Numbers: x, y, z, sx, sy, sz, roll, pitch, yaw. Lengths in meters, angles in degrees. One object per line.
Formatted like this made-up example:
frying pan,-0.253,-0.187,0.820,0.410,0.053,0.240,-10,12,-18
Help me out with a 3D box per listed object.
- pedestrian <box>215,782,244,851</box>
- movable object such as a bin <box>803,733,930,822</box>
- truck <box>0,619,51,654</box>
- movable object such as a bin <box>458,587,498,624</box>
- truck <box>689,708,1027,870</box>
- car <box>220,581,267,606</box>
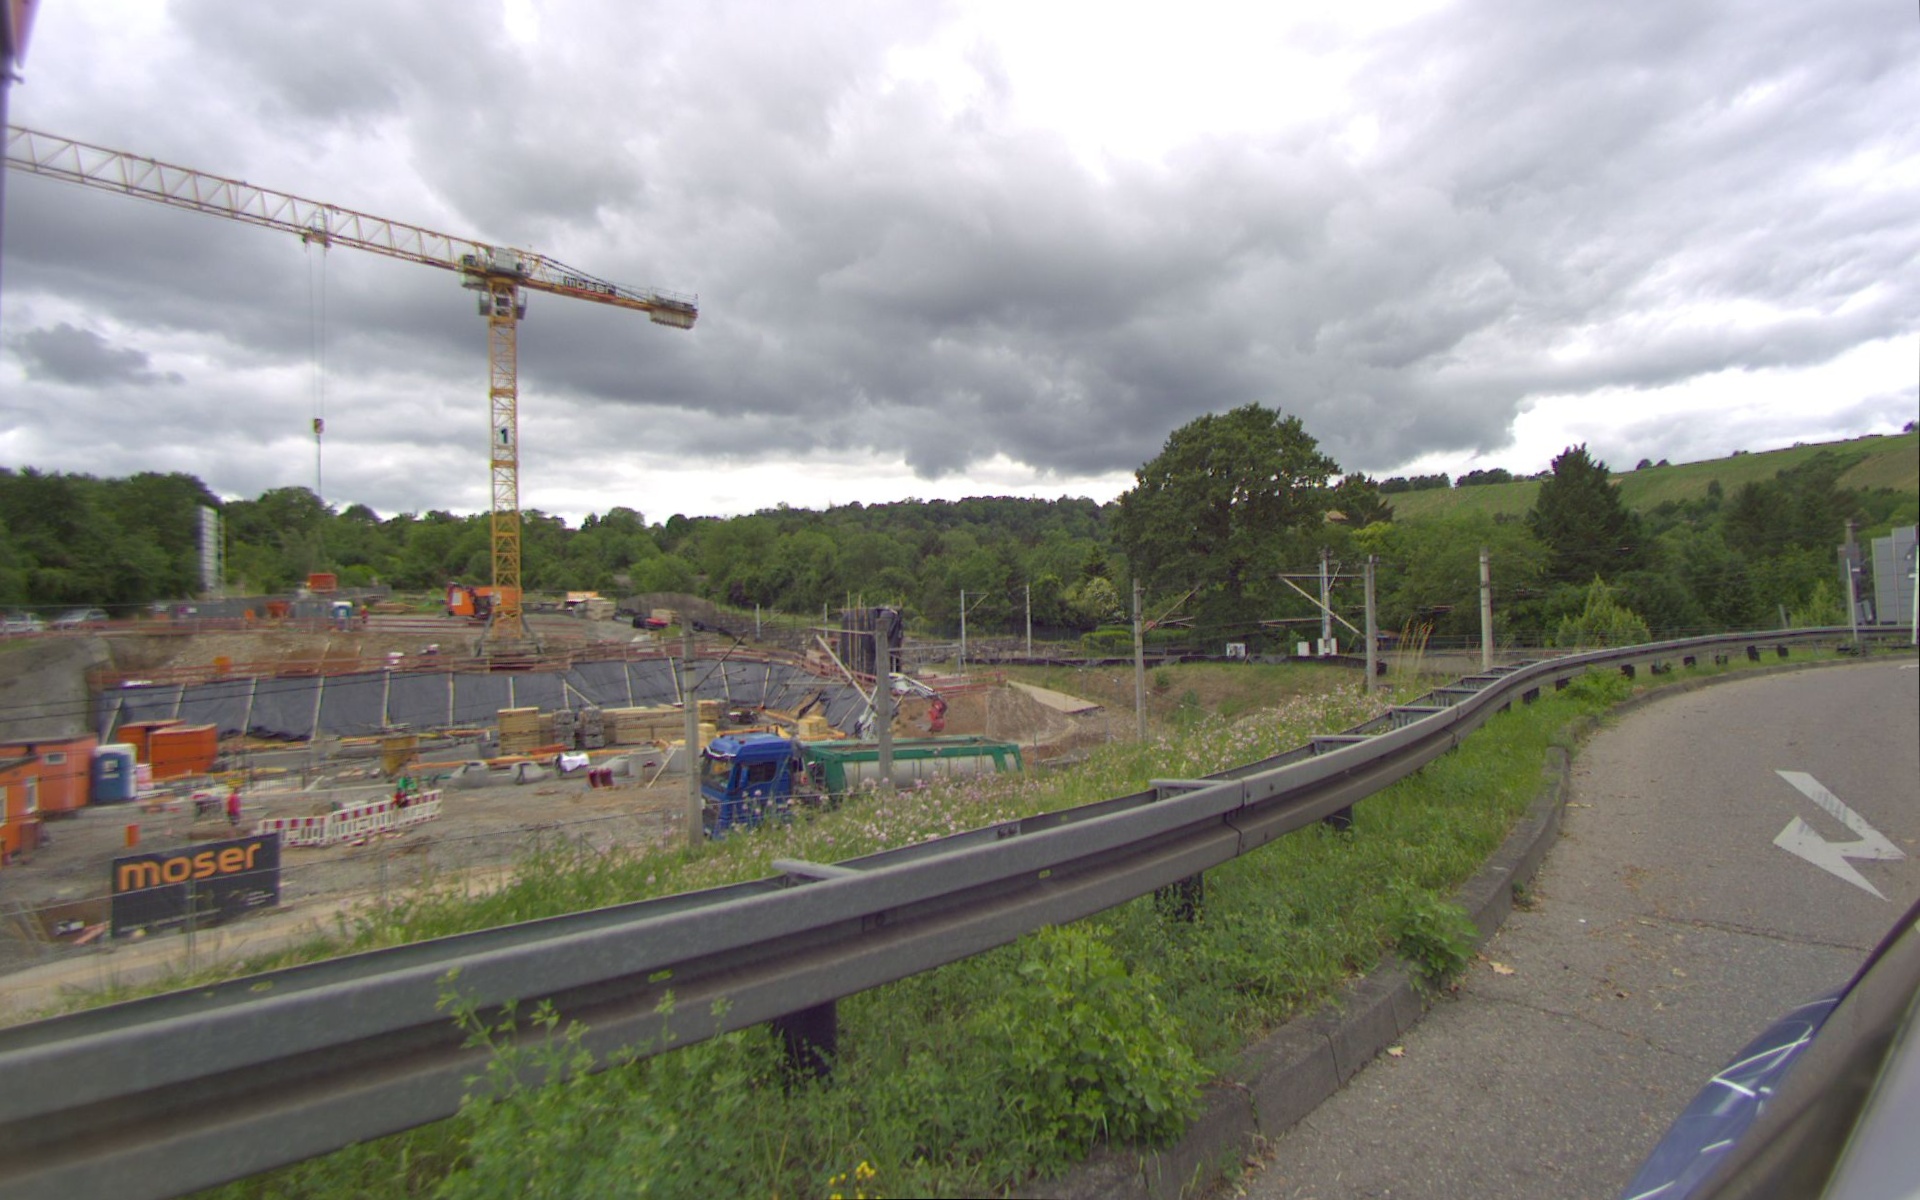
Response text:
pedestrian,-23.691,6.993,32.822,0.690,2.040,0.803,-2,-4,-34
movable object such as a bin,-3.583,6.638,38.413,4.197,2.785,3.053,1,-2,-18
truck,-60.189,2.360,64.854,1.704,2.040,3.232,-2,-3,-17
movable object such as a bin,-42.005,0.495,88.210,2.742,3.116,1.844,-2,-1,-15
truck,-3.059,5.967,33.897,11.399,3.944,2.845,1,-2,-36
car,-64.260,-0.555,90.789,1.959,2.039,4.006,-2,0,-12
